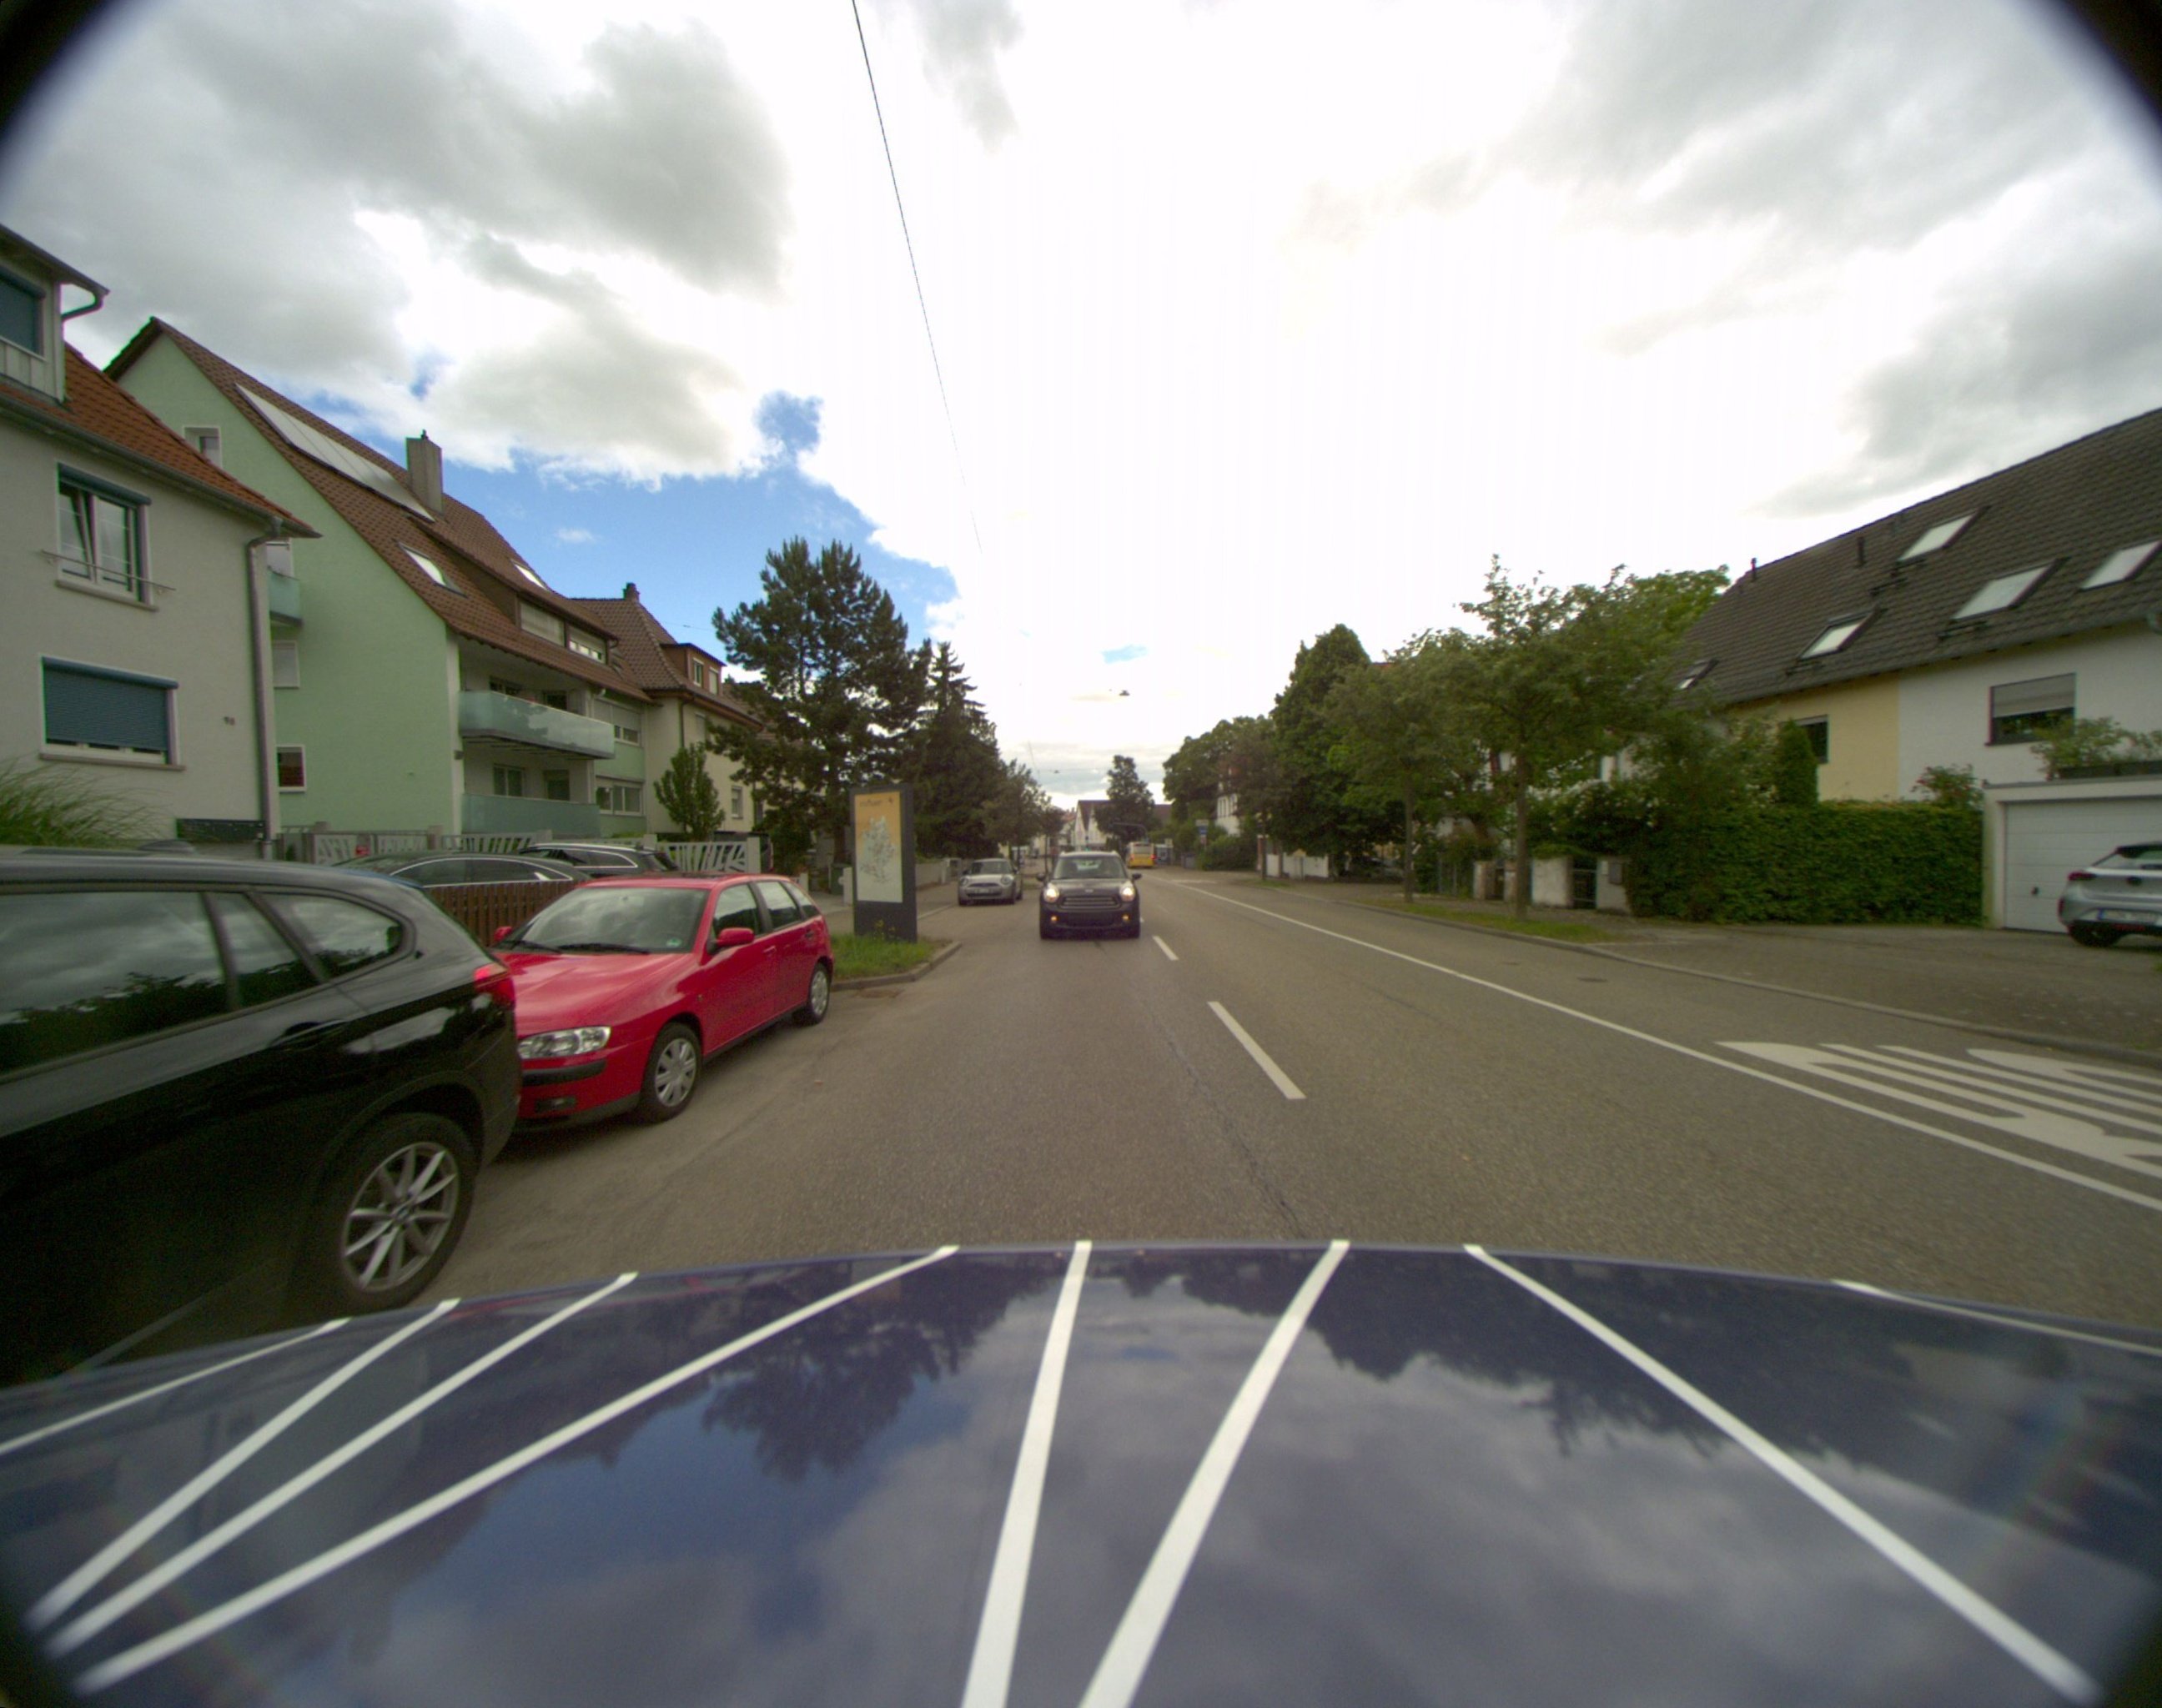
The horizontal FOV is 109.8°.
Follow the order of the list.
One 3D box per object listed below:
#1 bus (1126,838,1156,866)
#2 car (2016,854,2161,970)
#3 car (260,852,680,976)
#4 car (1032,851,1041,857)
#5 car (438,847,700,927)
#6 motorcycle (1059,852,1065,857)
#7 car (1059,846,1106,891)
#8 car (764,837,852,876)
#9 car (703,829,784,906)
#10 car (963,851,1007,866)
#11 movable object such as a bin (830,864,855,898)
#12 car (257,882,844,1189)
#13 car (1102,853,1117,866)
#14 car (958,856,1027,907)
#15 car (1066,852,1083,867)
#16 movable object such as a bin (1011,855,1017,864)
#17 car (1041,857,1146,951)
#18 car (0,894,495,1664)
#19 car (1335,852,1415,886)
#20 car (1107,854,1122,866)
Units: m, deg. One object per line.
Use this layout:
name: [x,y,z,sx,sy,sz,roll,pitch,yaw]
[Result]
bus: [6.993,-0.195,89.799,2.638,3.068,12.069,1,0,1]
car: [14.786,0.646,9.508,4.076,1.279,1.755,-2,1,-1]
car: [-8.564,0.695,11.245,1.820,1.373,4.486,1,1,23]
car: [-11.928,0.042,203.247,1.635,1.404,3.994,0,0,-14]
car: [-10.619,0.664,16.056,4.274,1.497,1.693,1,2,-7]
motorcycle: [-4.948,0.137,193.397,1.430,1.017,0.524,-3,2,-11]
car: [0.024,0.550,32.310,1.811,1.556,4.615,-2,3,0]
car: [-14.694,0.111,41.122,3.998,1.694,1.884,5,2,-4]
car: [-10.488,0.337,23.439,1.982,2.002,4.712,3,1,-26]
car: [-10.235,0.445,81.380,4.432,1.480,1.864,1,1,-1]
movable object such as a bin: [-7.993,0.911,25.486,0.595,1.051,0.613,3,2,-33]
car: [-3.241,0.983,5.641,1.666,1.385,3.668,-1,0,2]
car: [3.941,0.699,105.232,1.763,1.626,4.593,1,1,-1]
car: [-2.765,0.823,24.518,1.654,1.374,3.999,-1,1,1]
car: [-0.774,0.576,87.320,1.846,1.510,3.999,-2,1,0]
movable object such as a bin: [-8.300,0.705,93.630,0.638,1.040,0.585,-2,2,-8]
car: [0.132,0.836,14.553,1.694,1.506,3.999,-1,0,-2]
car: [-3.106,0.948,0.948,1.667,1.555,4.097,-1,0,-2]
car: [14.228,0.694,37.093,1.811,1.555,4.616,1,0,-4]
car: [4.235,0.704,96.400,1.568,1.412,4.129,0,1,-1]
